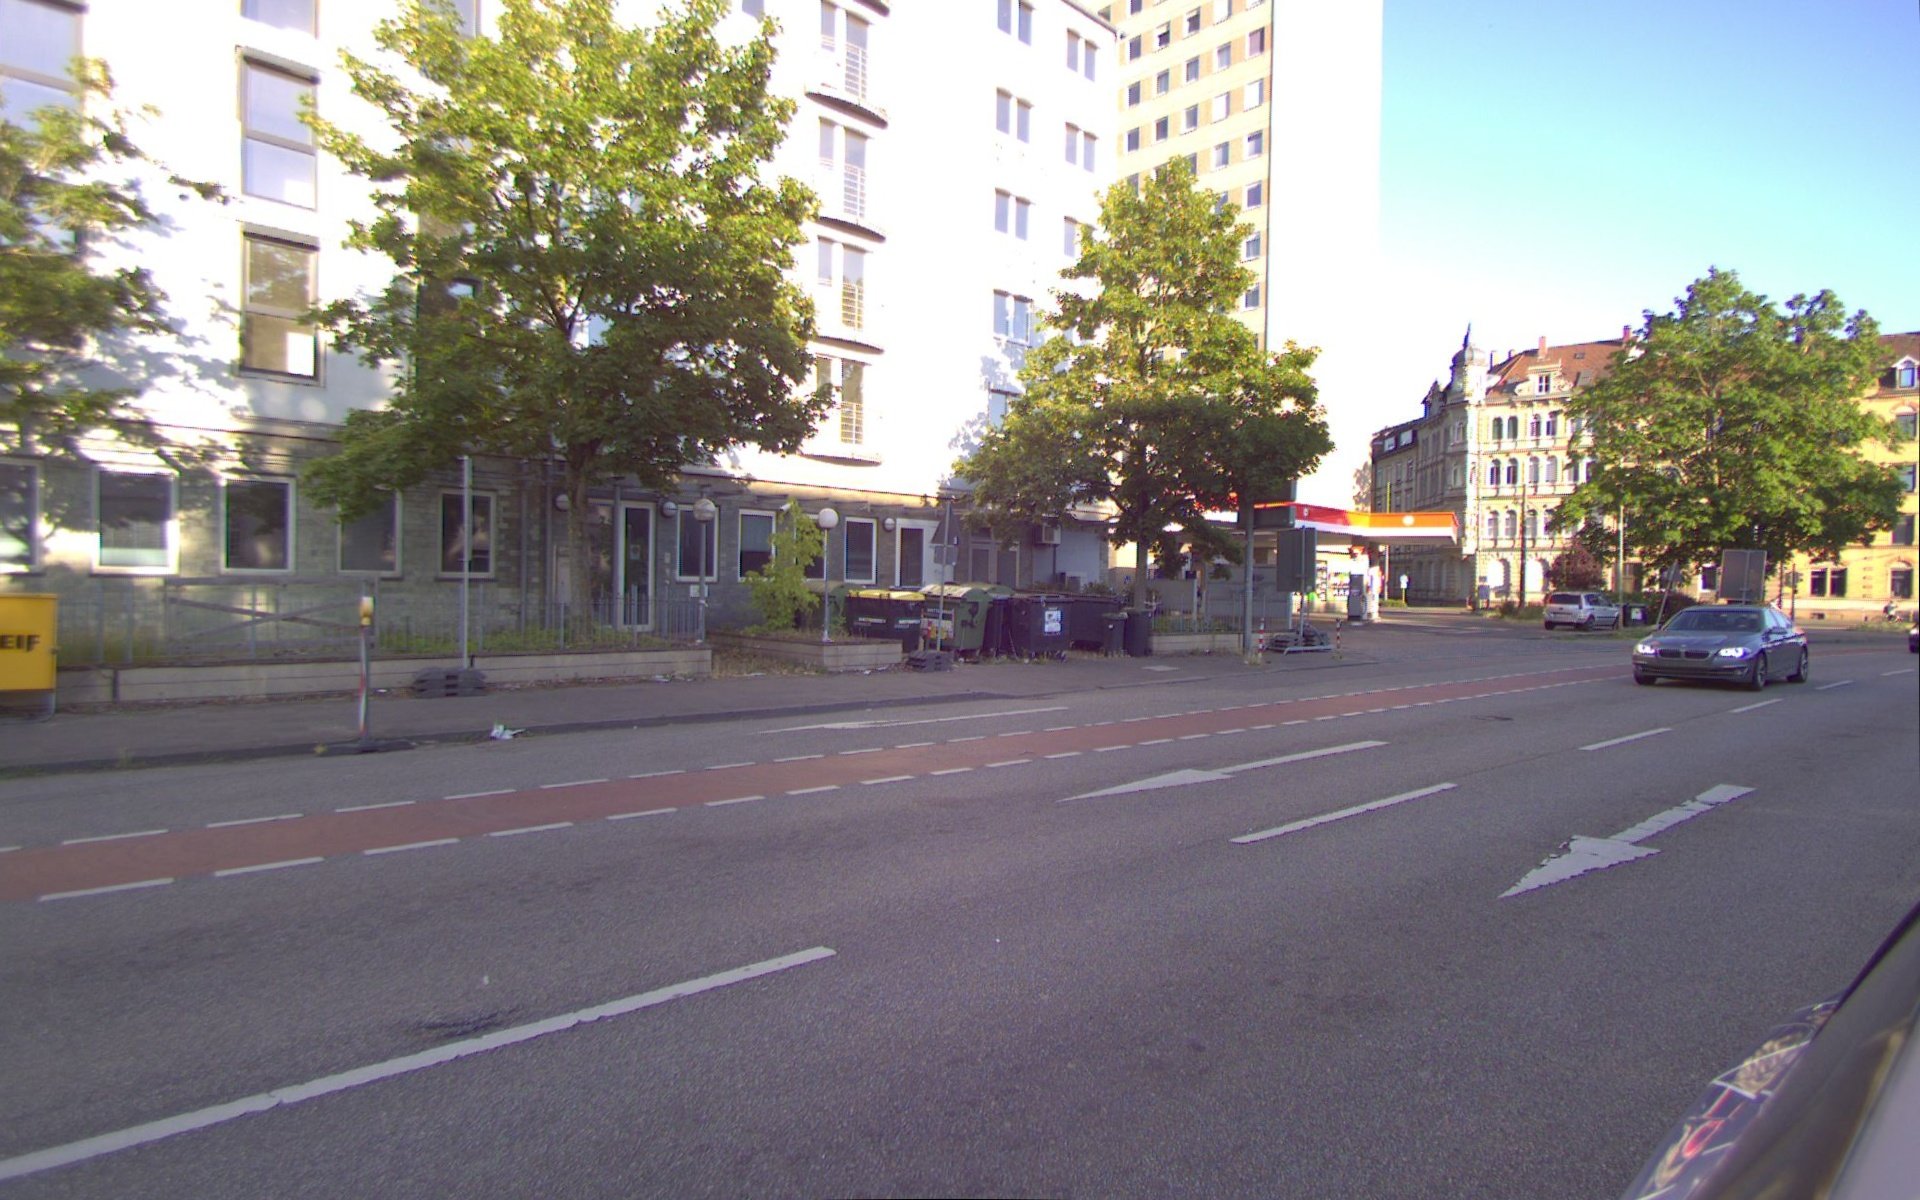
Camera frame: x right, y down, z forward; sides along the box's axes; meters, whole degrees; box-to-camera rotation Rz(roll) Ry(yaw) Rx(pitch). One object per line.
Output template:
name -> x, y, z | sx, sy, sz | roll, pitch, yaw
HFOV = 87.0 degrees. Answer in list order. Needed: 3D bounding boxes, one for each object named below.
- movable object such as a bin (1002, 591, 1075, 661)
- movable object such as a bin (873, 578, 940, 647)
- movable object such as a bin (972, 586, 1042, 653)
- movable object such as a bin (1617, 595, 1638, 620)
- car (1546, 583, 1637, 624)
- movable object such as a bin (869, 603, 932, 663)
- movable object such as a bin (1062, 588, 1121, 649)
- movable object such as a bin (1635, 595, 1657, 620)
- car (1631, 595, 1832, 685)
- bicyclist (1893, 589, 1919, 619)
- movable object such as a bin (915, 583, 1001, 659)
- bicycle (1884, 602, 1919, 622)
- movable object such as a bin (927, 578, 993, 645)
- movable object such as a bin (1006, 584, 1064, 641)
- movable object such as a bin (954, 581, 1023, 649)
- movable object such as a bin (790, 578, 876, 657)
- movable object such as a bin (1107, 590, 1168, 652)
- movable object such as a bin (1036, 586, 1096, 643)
movable object such as a bin -> 1.607, 0.502, 20.620 | 1.143, 1.345, 0.954 | 0, 1, -44
movable object such as a bin -> -1.223, 0.267, 23.137 | 1.143, 1.517, 1.033 | 0, 1, -43
movable object such as a bin -> 1.001, 0.393, 21.576 | 1.143, 1.345, 0.954 | 0, 1, -44
movable object such as a bin -> 28.556, 0.311, 43.284 | 0.675, 1.031, 0.544 | 0, 1, -36
car -> 25.217, 0.121, 40.407 | 3.723, 1.535, 1.691 | -1, 2, -34
movable object such as a bin -> -1.118, 0.597, 18.985 | 0.851, 1.058, 0.806 | 2, 1, 45
movable object such as a bin -> 3.022, 0.397, 23.193 | 0.938, 1.345, 0.954 | 0, 1, -43
movable object such as a bin -> 28.869, 0.326, 42.598 | 0.675, 1.031, 0.544 | 0, 1, -36
car -> 14.326, 0.647, 18.711 | 4.580, 1.467, 1.820 | 0, 0, -37
bicyclist -> 53.241, 0.205, 56.919 | 1.062, 1.670, 0.721 | 2, 1, 43
movable object such as a bin -> -0.050, 0.389, 20.332 | 1.088, 1.441, 1.348 | 0, 1, -45
bicycle -> 53.214, 0.670, 56.833 | 1.920, 1.072, 0.444 | 2, 1, 43
movable object such as a bin -> -0.006, 0.254, 23.699 | 1.143, 1.517, 1.033 | 0, 1, -43
movable object such as a bin -> 1.843, 0.298, 24.859 | 1.080, 1.345, 0.954 | 0, 1, -44
movable object such as a bin -> 0.643, 0.314, 22.706 | 1.143, 1.467, 1.033 | 0, 1, -43
movable object such as a bin -> -2.505, 0.310, 19.918 | 1.088, 1.479, 1.348 | 0, 1, -45
movable object such as a bin -> 3.981, 0.453, 22.687 | 0.938, 1.345, 0.954 | 0, 1, -43
movable object such as a bin -> 2.523, 0.327, 24.130 | 1.080, 1.299, 0.954 | 0, 1, -44
